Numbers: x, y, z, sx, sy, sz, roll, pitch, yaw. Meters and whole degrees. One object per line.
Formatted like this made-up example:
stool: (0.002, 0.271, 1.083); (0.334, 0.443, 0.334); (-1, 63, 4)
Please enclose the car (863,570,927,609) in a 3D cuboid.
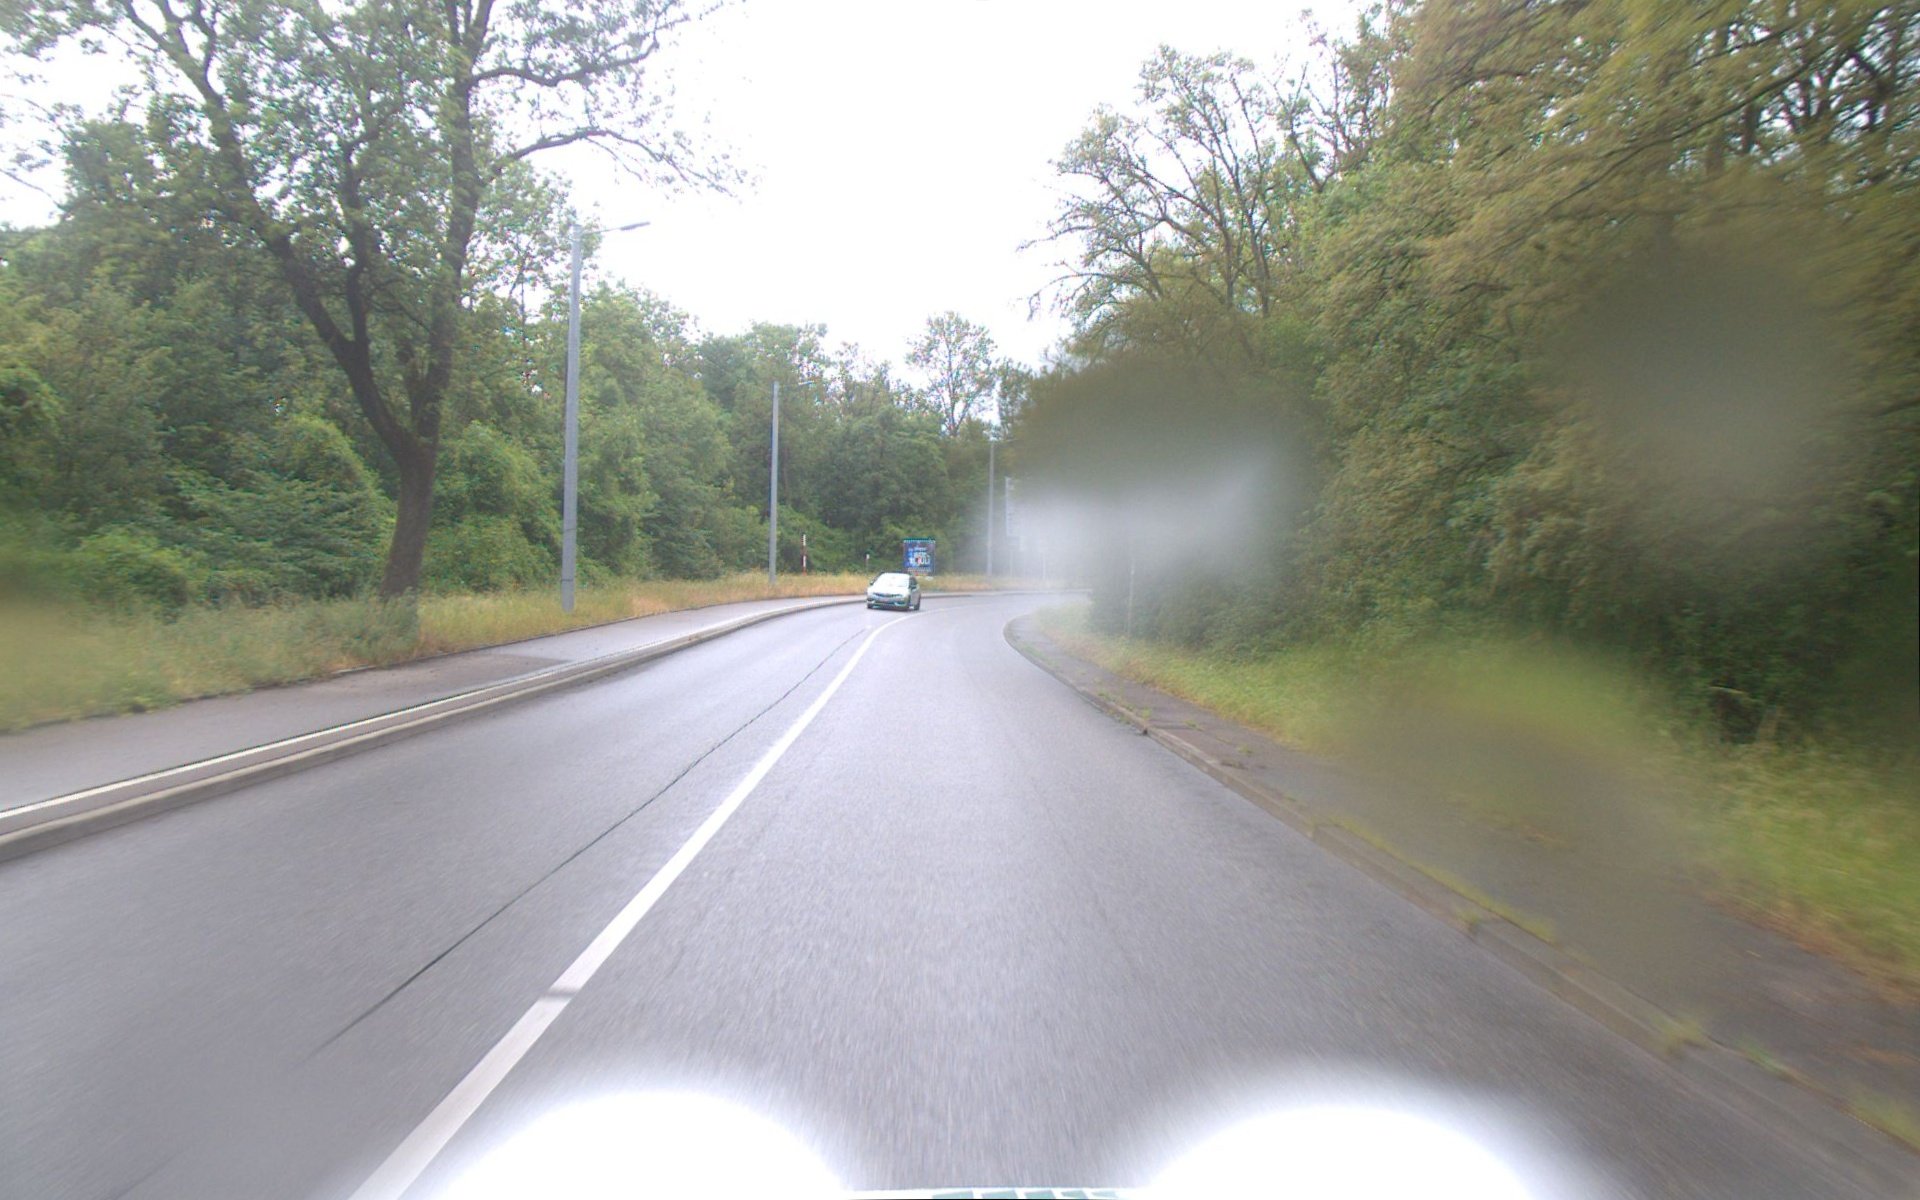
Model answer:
car: (-2.706, -0.476, 69.533); (1.742, 1.455, 4.479); (4, 2, 9)
